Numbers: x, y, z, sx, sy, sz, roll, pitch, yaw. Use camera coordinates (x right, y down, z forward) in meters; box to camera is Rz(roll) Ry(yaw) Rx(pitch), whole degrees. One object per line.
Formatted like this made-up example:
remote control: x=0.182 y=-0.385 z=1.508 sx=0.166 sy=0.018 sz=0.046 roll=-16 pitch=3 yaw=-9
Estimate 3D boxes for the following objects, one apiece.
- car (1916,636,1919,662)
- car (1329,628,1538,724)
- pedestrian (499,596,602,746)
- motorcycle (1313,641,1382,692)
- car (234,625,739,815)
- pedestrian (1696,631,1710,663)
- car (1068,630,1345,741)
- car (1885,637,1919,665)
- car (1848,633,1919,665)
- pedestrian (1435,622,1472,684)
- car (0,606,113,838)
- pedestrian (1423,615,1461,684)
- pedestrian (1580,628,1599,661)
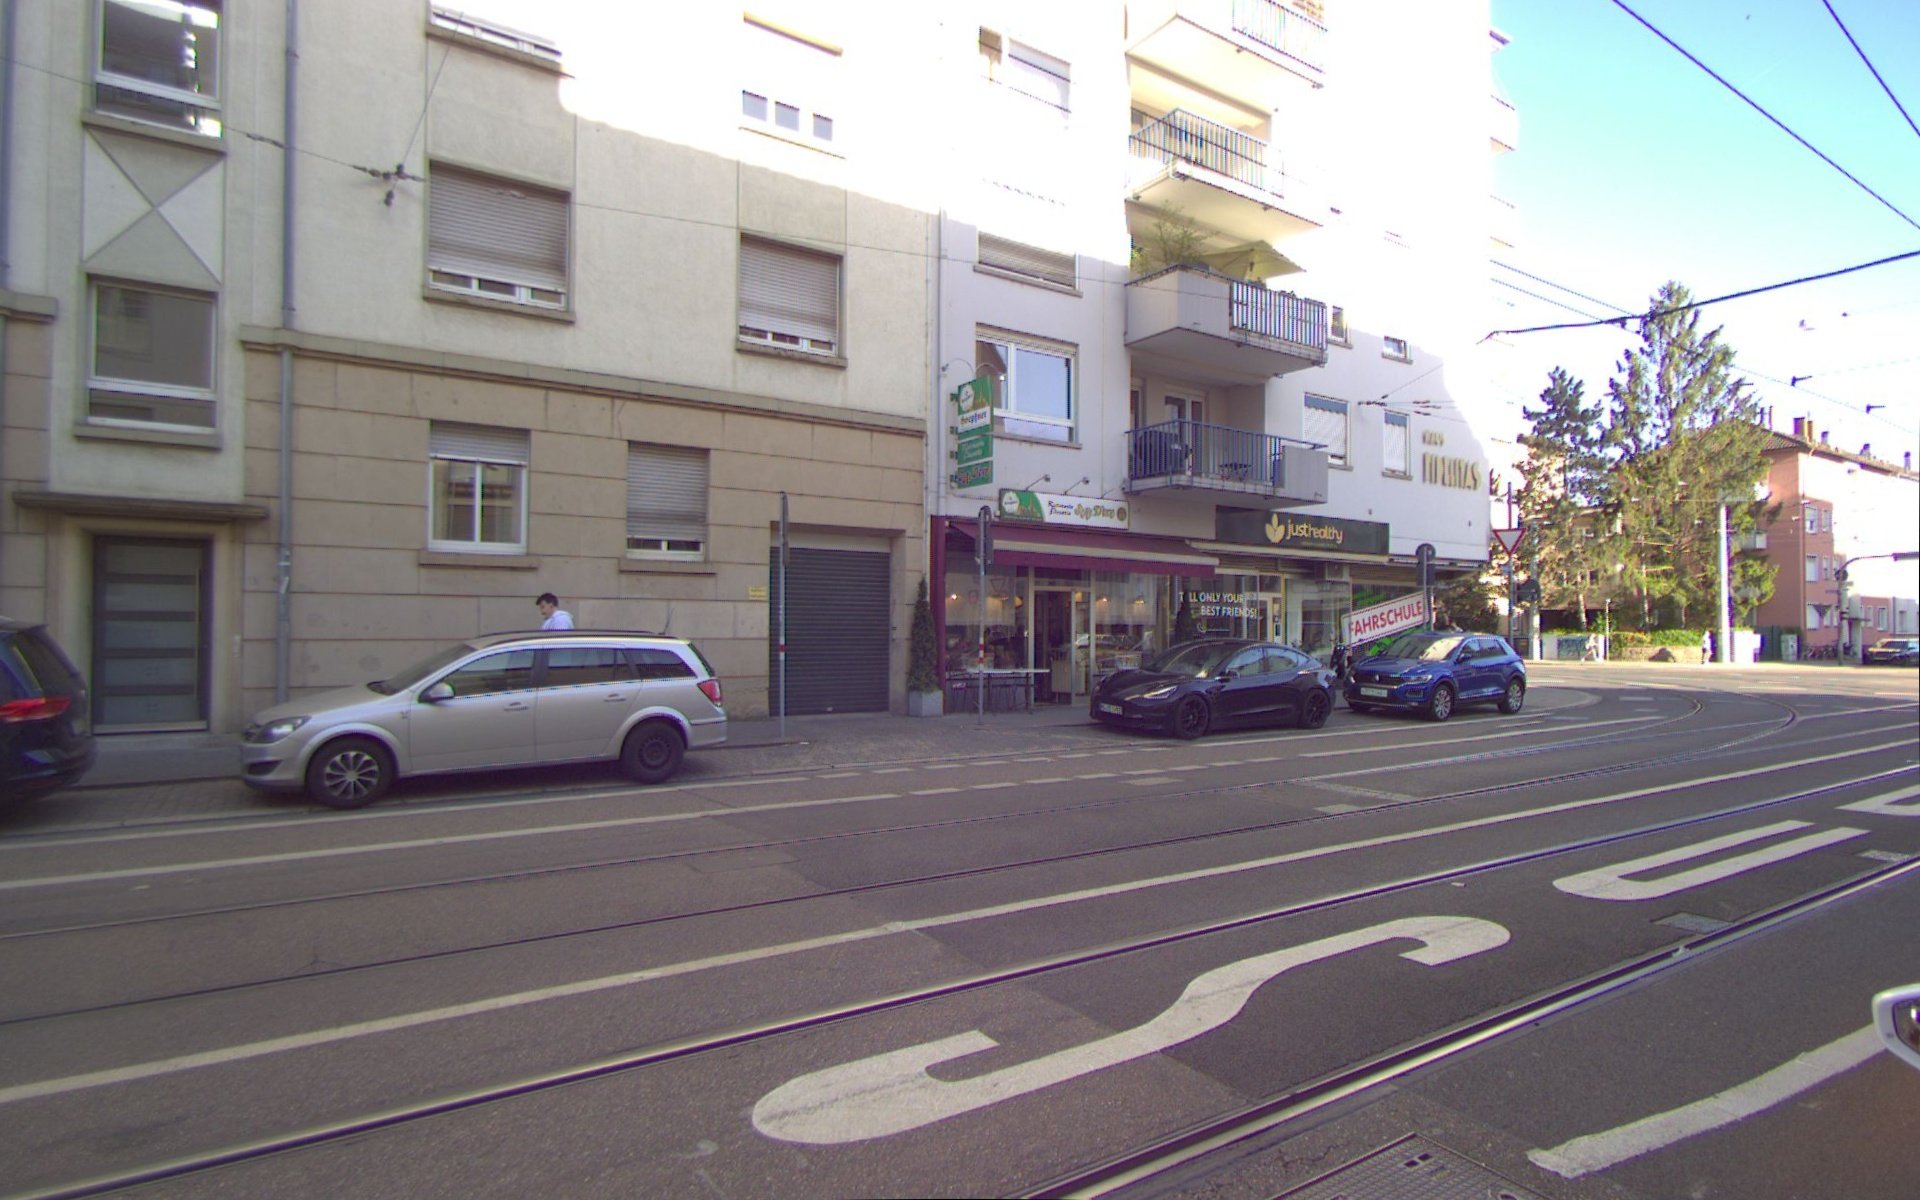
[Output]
car: x=58.364 y=2.939 z=59.435 sx=4.185 sy=1.546 sz=1.731 roll=2 pitch=0 yaw=-34
car: x=9.036 y=1.352 z=19.043 sx=4.196 sy=1.524 sz=1.757 roll=0 pitch=1 yaw=-36
pedestrian: x=-5.109 y=0.858 z=12.543 sx=0.998 sy=1.791 sz=0.656 roll=2 pitch=0 yaw=-40
motorcycle: x=9.237 y=1.571 z=23.897 sx=1.778 sy=1.149 sz=0.603 roll=2 pitch=0 yaw=-34
car: x=-4.624 y=1.059 z=10.168 sx=4.327 sy=1.474 sz=1.714 roll=2 pitch=1 yaw=-35
pedestrian: x=38.029 y=2.388 z=51.427 sx=0.509 sy=1.589 sz=0.572 roll=2 pitch=0 yaw=33
car: x=4.006 y=1.287 z=16.057 sx=4.398 sy=1.494 sz=1.759 roll=2 pitch=0 yaw=-33
car: x=54.411 y=2.901 z=56.938 sx=4.057 sy=1.456 sz=1.893 roll=2 pitch=0 yaw=-32
car: x=49.732 y=2.645 z=53.888 sx=4.397 sy=1.450 sz=2.140 roll=4 pitch=-1 yaw=-35
pedestrian: x=14.776 y=1.569 z=30.078 sx=0.653 sy=1.816 sz=0.733 roll=1 pitch=-1 yaw=-27
car: x=-8.990 y=0.864 z=7.179 sx=4.282 sy=1.655 sz=1.802 roll=2 pitch=1 yaw=-35
pedestrian: x=13.664 y=1.406 z=28.497 sx=0.727 sy=1.925 sz=0.573 roll=3 pitch=-2 yaw=-15
pedestrian: x=34.339 y=2.429 z=54.822 sx=0.772 sy=1.744 sz=0.702 roll=2 pitch=0 yaw=37
